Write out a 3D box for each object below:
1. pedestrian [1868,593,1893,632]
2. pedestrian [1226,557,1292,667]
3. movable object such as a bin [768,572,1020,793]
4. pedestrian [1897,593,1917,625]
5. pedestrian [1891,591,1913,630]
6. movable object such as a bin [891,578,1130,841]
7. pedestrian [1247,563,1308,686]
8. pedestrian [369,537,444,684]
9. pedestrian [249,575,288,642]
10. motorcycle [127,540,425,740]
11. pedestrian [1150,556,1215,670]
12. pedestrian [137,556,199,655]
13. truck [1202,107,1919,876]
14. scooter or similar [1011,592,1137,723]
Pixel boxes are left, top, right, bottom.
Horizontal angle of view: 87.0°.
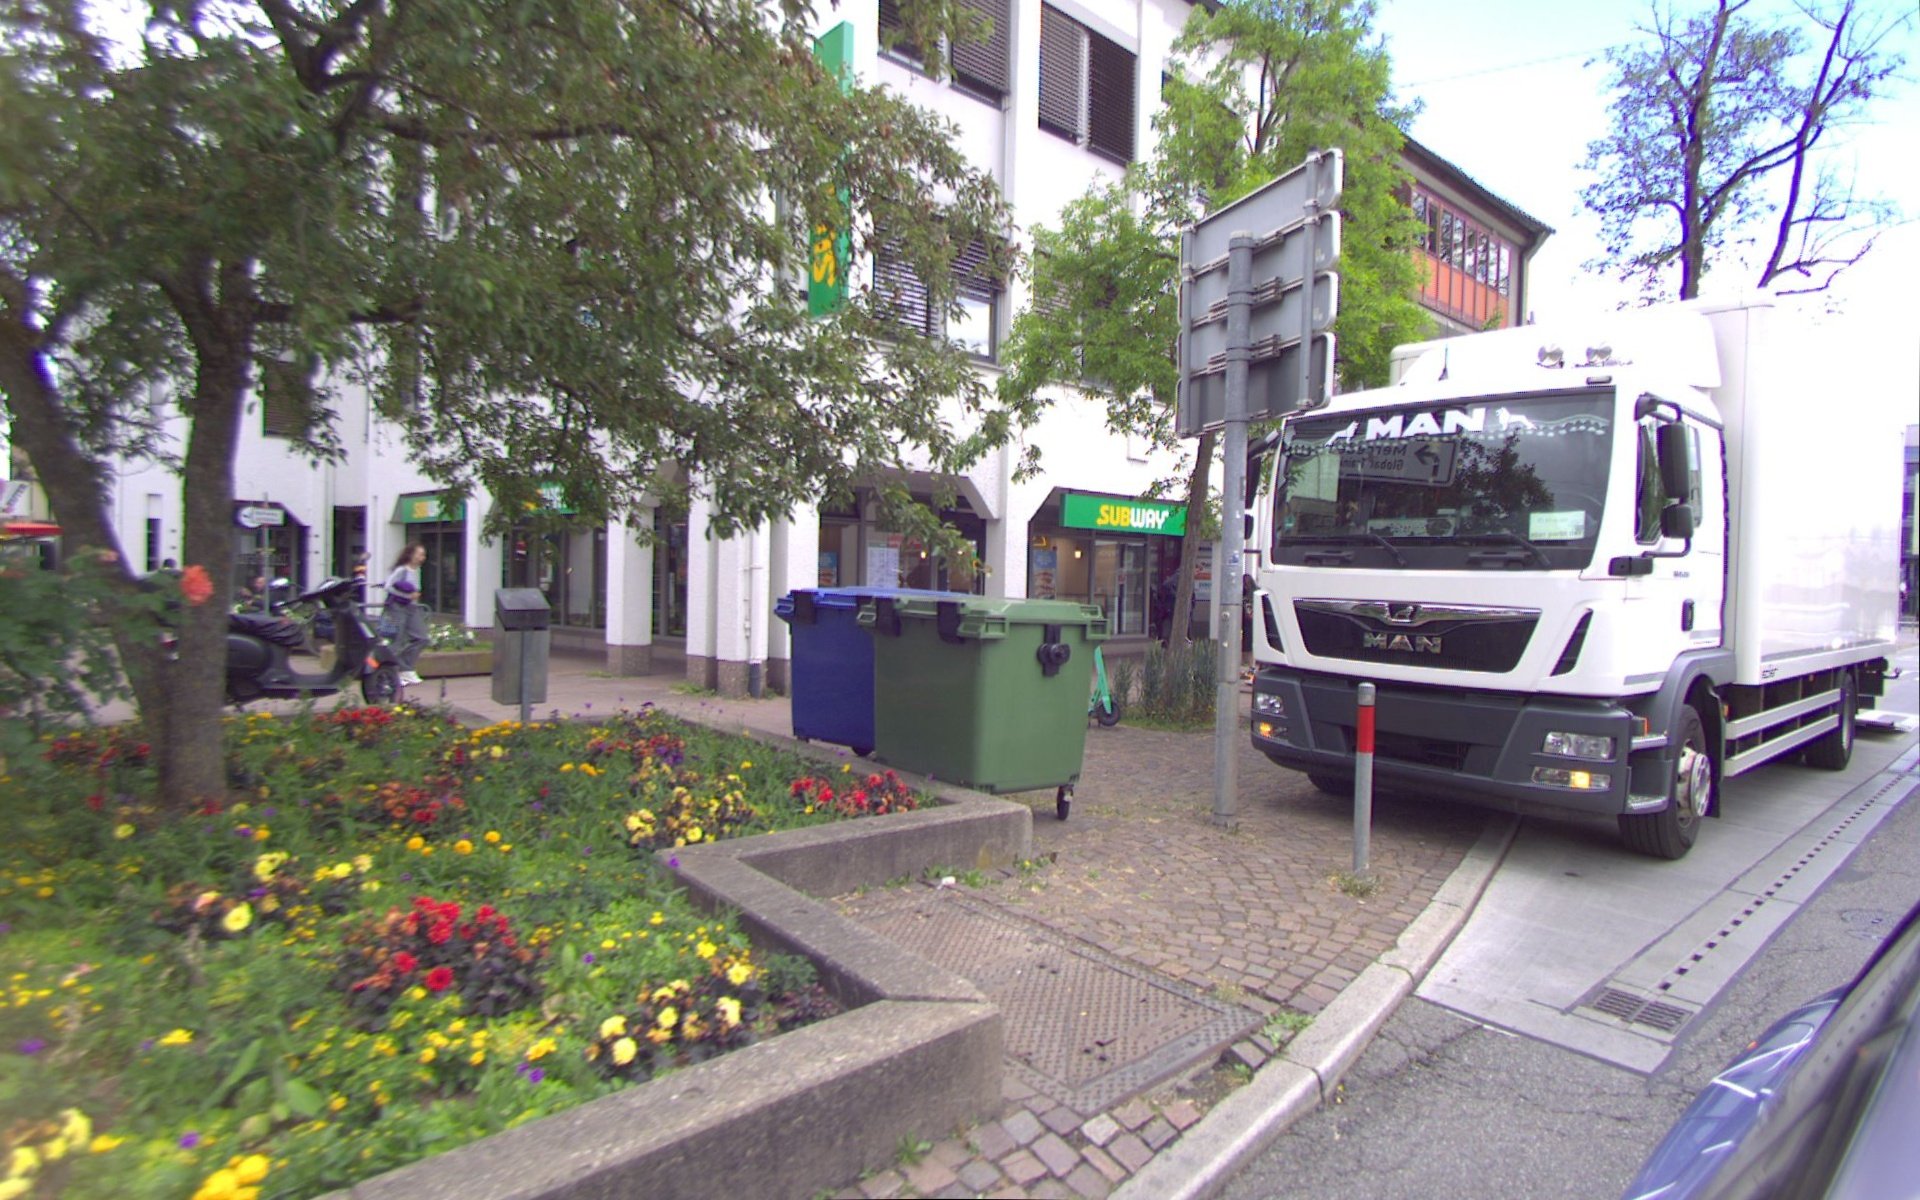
[{"bbox_3d":[40.519,0.546,44.538,0.605,1.654,0.719,0,2,-44],"label":"pedestrian"},{"bbox_3d":[4.553,0.173,15.406,0.564,1.622,0.744,1,1,-44],"label":"pedestrian"},{"bbox_3d":[-0.471,0.506,7.177,1.351,1.356,1.146,1,1,-39],"label":"movable object such as a bin"},{"bbox_3d":[51.463,0.487,54.999,0.838,1.655,0.689,1,1,-42],"label":"pedestrian"},{"bbox_3d":[40.968,0.435,44.026,0.605,1.654,0.613,0,2,-44],"label":"pedestrian"},{"bbox_3d":[0.295,0.567,5.955,1.066,1.356,0.883,1,1,-39],"label":"movable object such as a bin"},{"bbox_3d":[4.377,0.322,13.930,0.737,1.622,0.570,2,1,21],"label":"pedestrian"},{"bbox_3d":[-6.340,0.111,11.614,0.503,1.622,0.620,1,1,-2],"label":"pedestrian"},{"bbox_3d":[-12.868,0.148,18.827,0.504,1.215,0.619,1,1,-43],"label":"pedestrian"},{"bbox_3d":[-5.535,0.285,8.271,1.913,1.456,0.721,1,1,-44],"label":"motorcycle"},{"bbox_3d":[3.267,0.174,14.872,0.732,1.622,0.573,1,1,-40],"label":"pedestrian"},{"bbox_3d":[-12.340,0.078,15.763,0.605,1.494,0.612,2,1,37],"label":"pedestrian"},{"bbox_3d":[6.126,-0.512,8.966,9.597,3.606,2.693,1,1,-42],"label":"truck"},{"bbox_3d":[1.125,0.541,10.128,1.174,1.211,0.454,3,1,41],"label":"scooter or similar"}]
